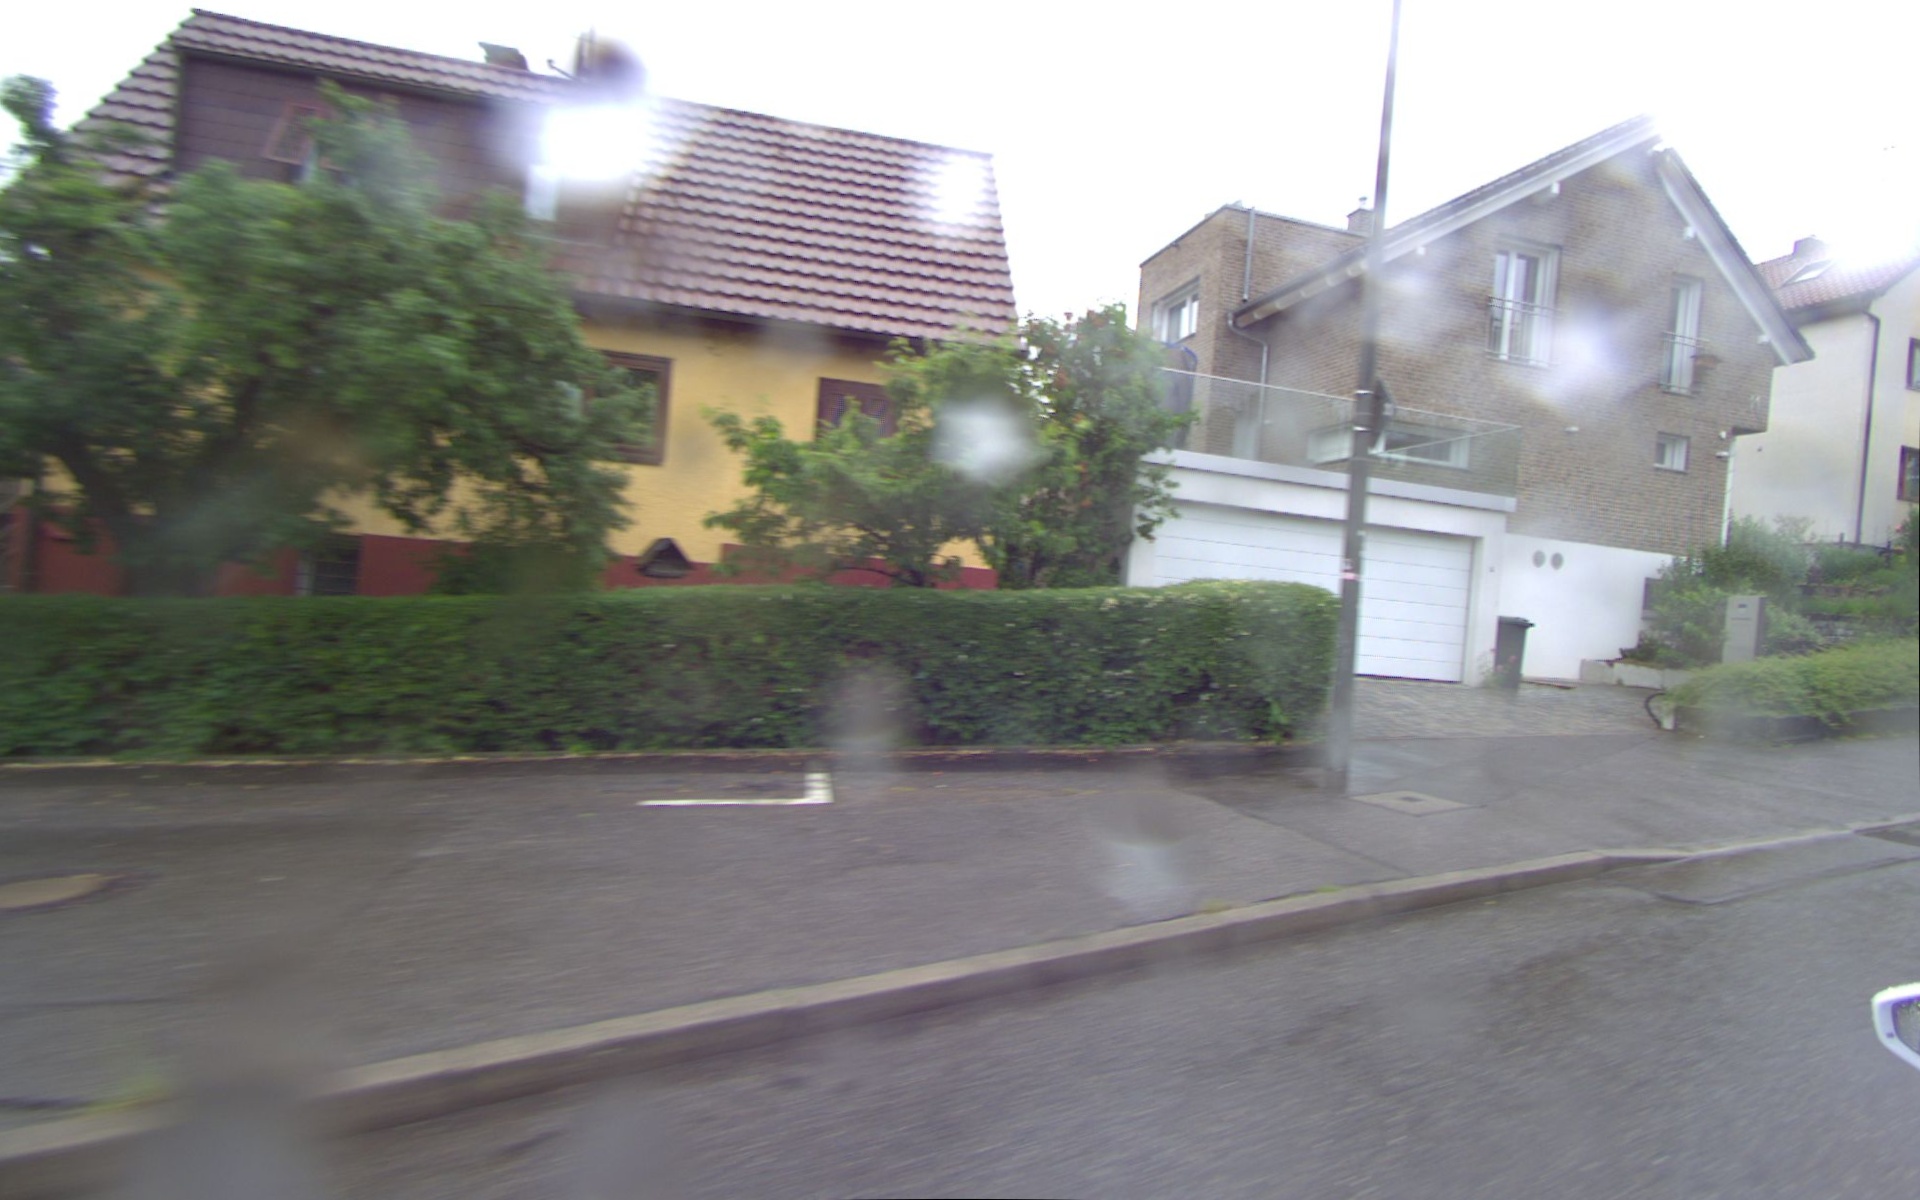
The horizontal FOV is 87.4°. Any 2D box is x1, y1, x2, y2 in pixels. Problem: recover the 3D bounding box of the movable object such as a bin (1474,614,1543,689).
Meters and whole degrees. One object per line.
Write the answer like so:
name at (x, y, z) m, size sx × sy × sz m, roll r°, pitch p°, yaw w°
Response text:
movable object such as a bin at (8.242, 0.764, 15.100) m, size 0.700 × 1.089 × 0.560 m, roll 1°, pitch 0°, yaw -14°
